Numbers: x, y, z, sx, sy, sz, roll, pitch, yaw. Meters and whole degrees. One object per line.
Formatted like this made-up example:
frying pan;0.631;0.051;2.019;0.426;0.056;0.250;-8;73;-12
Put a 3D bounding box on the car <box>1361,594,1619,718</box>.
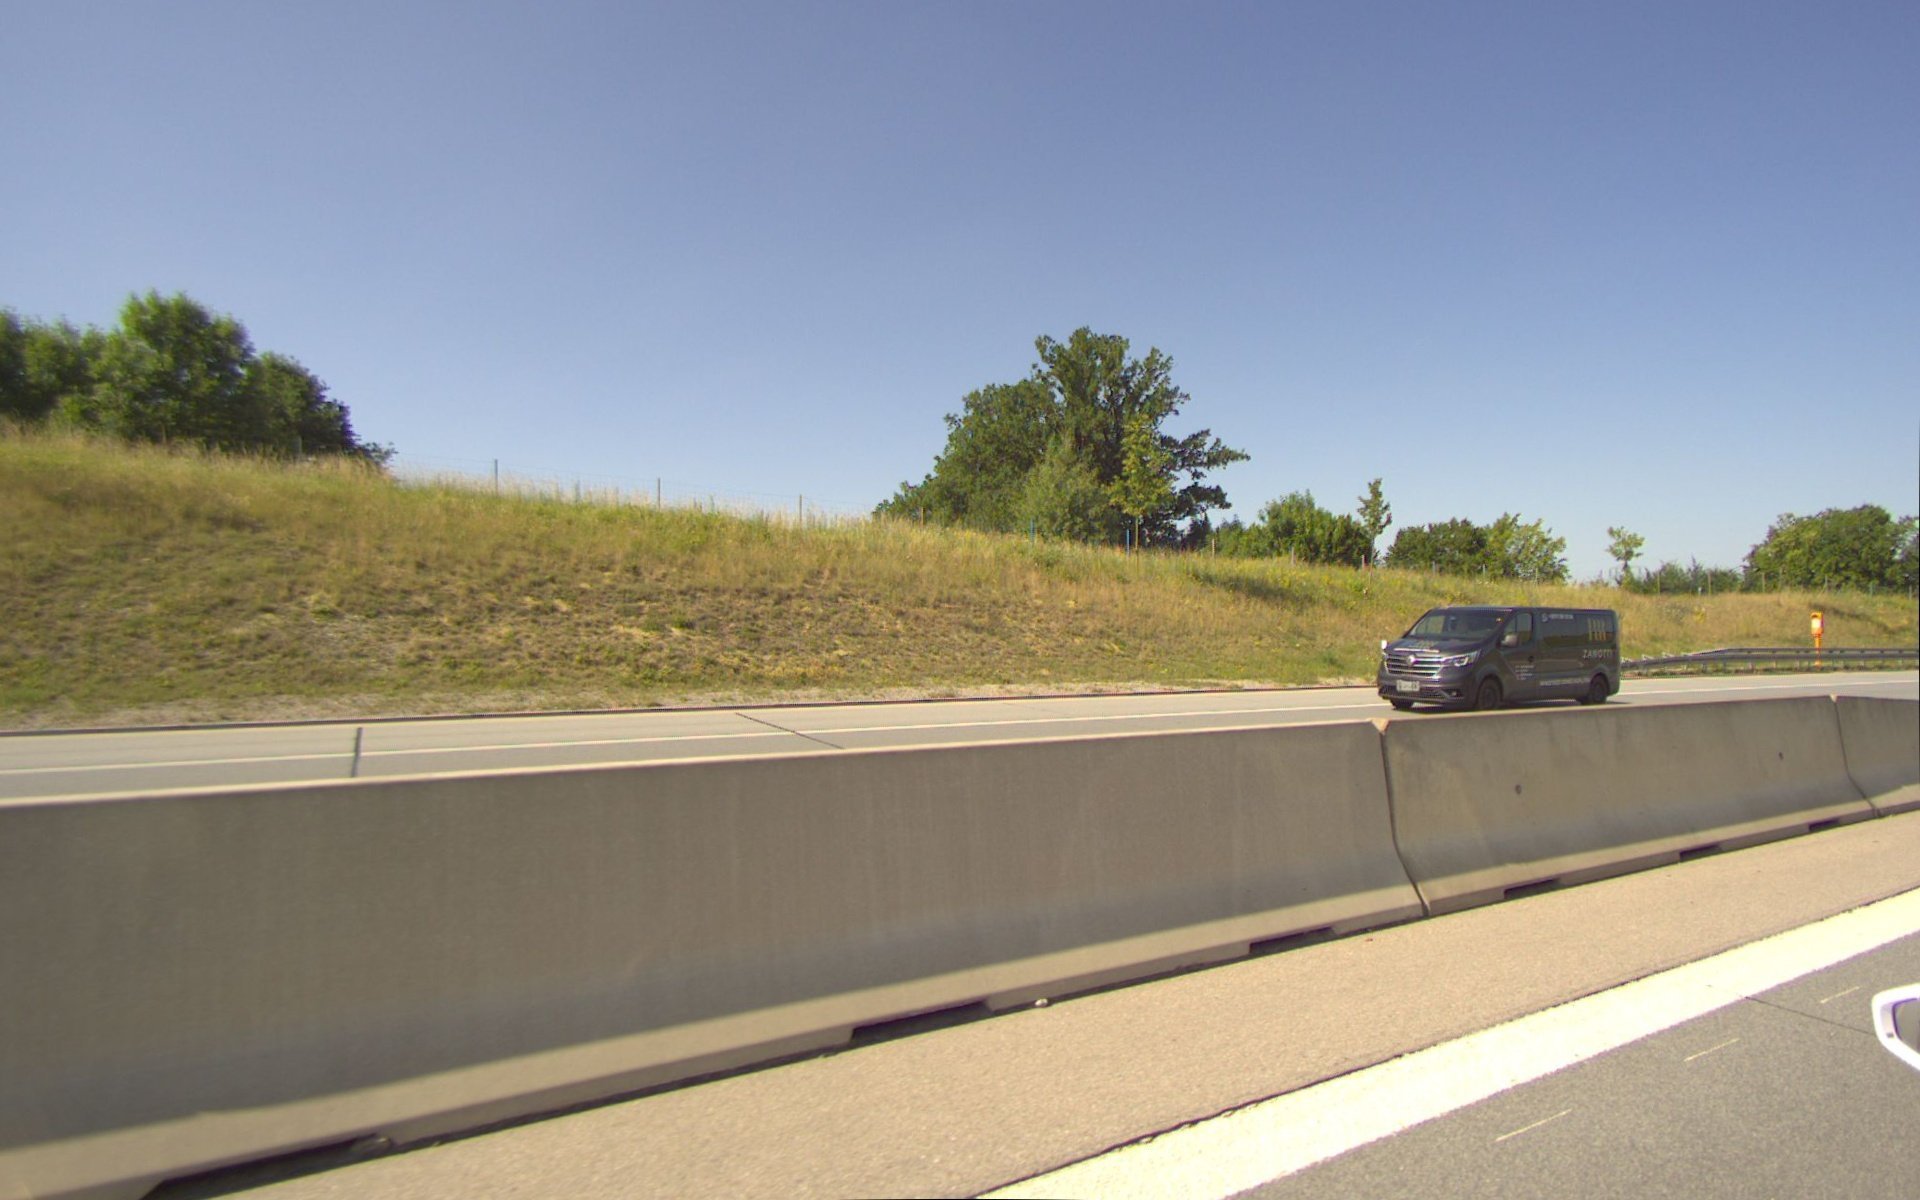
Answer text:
car;9.992;0.977;18.833;4.912;2.040;1.984;1;0;-31
